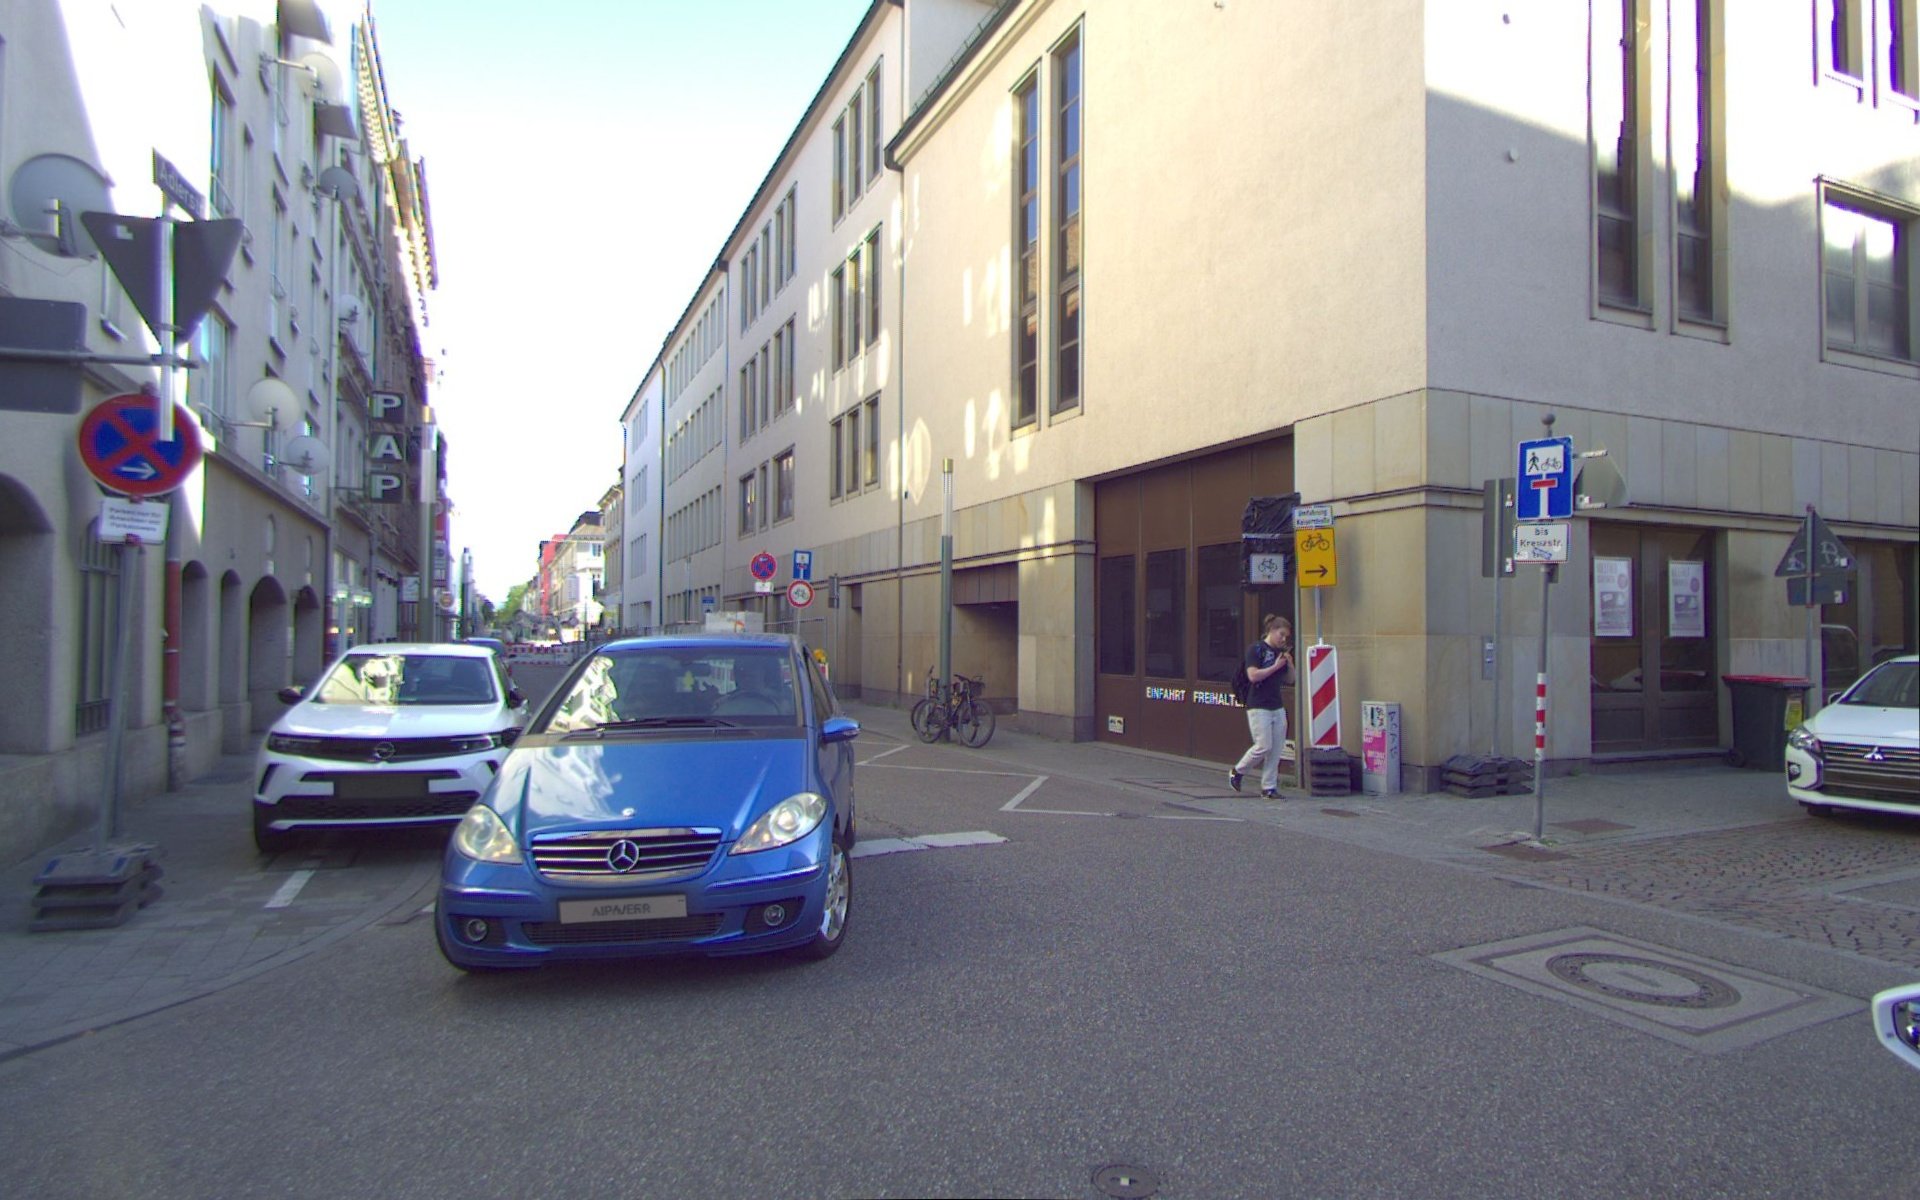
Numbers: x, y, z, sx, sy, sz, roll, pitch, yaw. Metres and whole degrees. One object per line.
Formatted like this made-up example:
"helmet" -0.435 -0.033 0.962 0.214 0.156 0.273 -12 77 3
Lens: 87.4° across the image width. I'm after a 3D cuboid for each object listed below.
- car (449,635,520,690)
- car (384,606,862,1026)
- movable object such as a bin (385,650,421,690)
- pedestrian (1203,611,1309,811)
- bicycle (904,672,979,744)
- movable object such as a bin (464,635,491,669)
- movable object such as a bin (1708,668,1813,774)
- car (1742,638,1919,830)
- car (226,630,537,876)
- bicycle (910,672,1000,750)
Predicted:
"car" -14.758 1.895 31.073 1.772 1.545 3.971 3 -3 -28
"car" -1.535 0.919 5.966 1.822 1.614 3.804 -1 -2 -5
"movable object such as a bin" -15.646 1.960 28.212 0.828 1.062 0.748 2 0 -30
"pedestrian" 2.959 1.079 10.038 0.847 1.878 0.714 -2 -4 33
"bicycle" -0.319 1.720 16.273 0.300 1.064 1.524 2 -2 -41
"movable object such as a bin" -23.149 2.498 48.175 1.070 1.564 0.901 3 -3 -29
"movable object such as a bin" 9.143 1.361 11.491 0.583 1.115 0.734 2 0 -24
"car" 9.107 1.115 9.083 3.750 1.511 1.732 1 -4 -27
"car" -4.721 1.109 8.784 1.718 1.614 3.950 2 -3 -21
"bicycle" -0.105 1.663 15.323 0.300 1.064 1.770 2 -2 -41
